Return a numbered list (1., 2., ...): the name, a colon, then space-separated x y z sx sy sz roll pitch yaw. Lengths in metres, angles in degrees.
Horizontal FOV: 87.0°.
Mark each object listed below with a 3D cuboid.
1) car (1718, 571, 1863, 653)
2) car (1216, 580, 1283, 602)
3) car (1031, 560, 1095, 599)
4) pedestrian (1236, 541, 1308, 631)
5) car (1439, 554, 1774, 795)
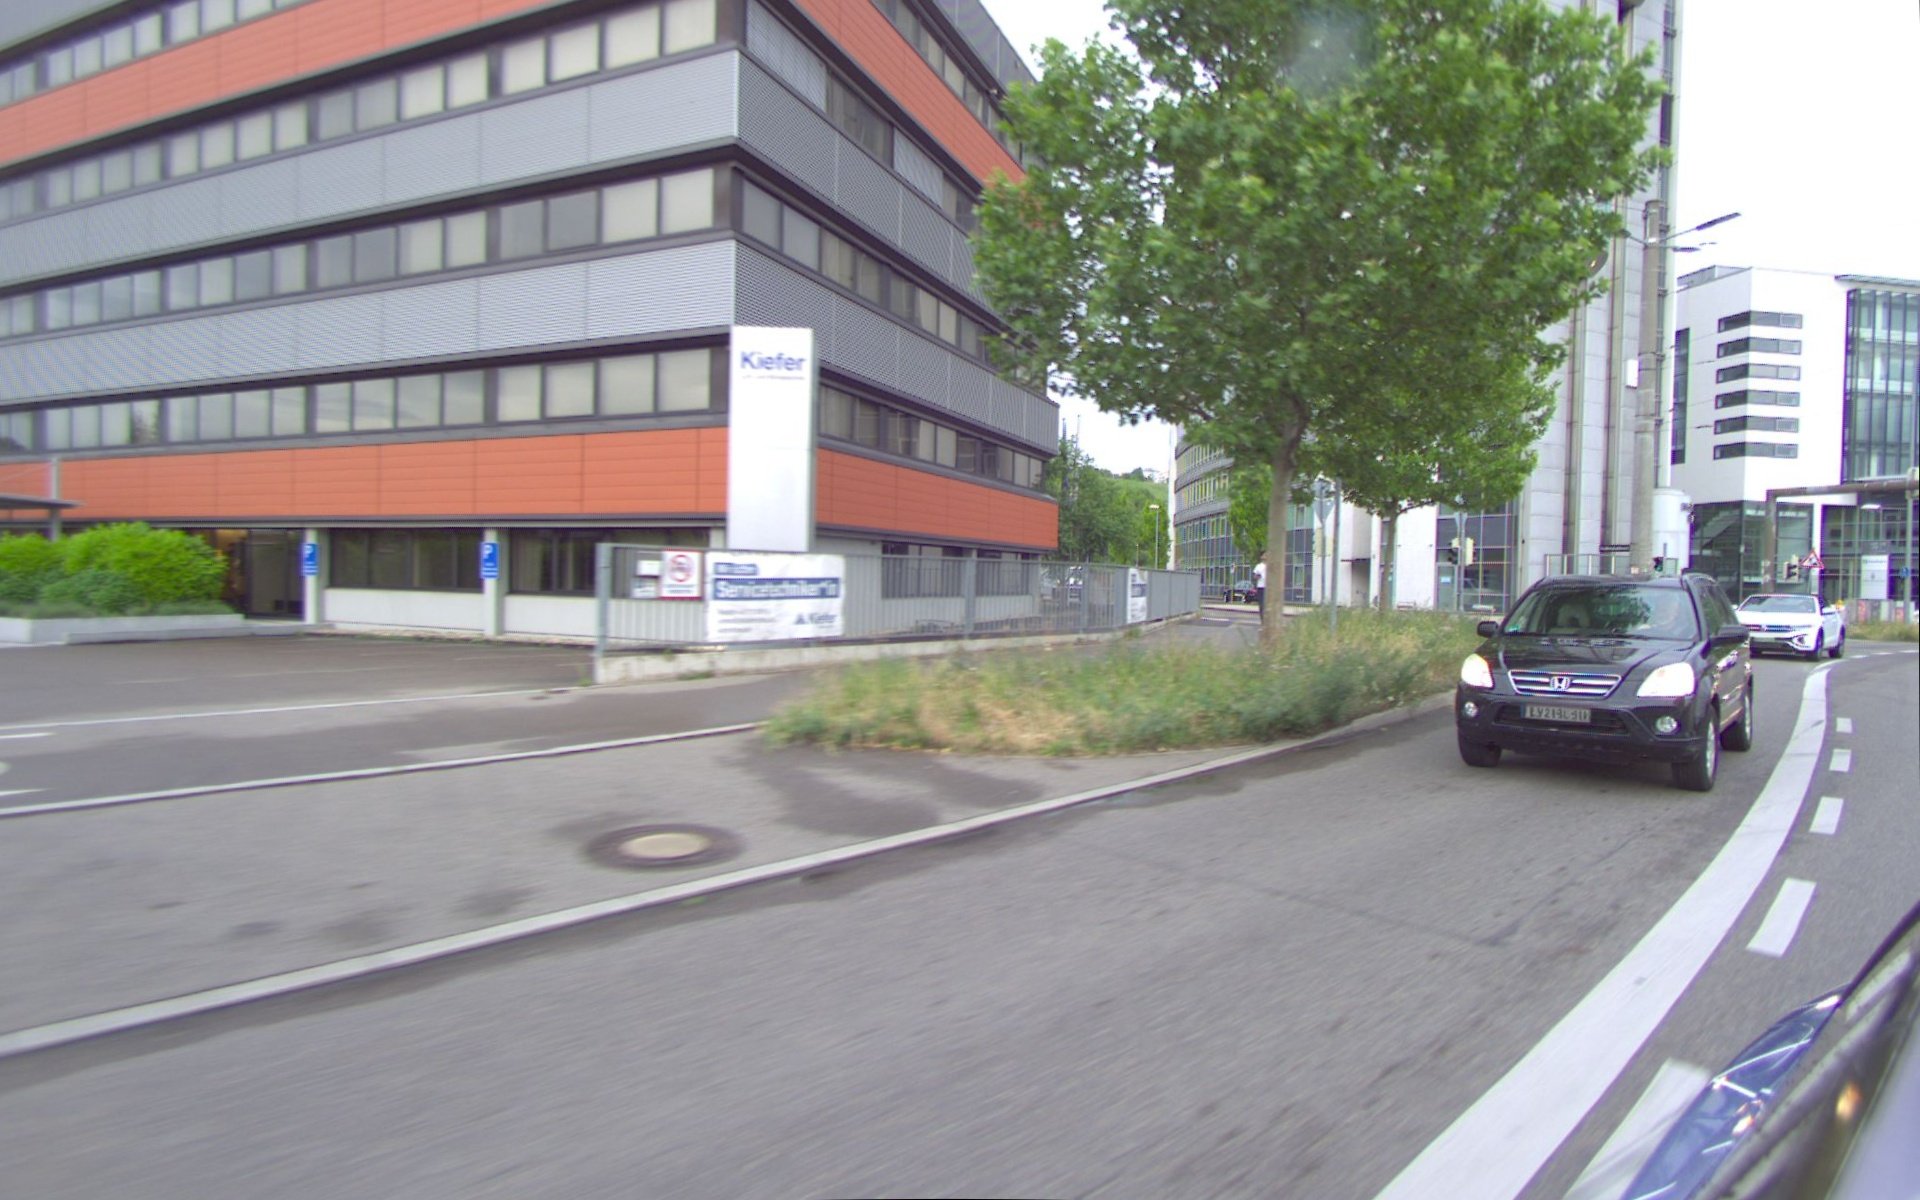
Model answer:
1. car: 19.350 0.238 23.540 3.755 1.699 1.997 0 2 -41
2. car: 18.330 -0.577 64.259 1.861 1.330 4.333 -1 0 -21
3. car: 5.790 -1.121 57.466 1.958 1.940 5.092 5 -1 -12
4. pedestrian: 7.680 -0.363 24.966 1.196 2.152 1.150 0 2 -21
5. car: 5.970 0.497 9.103 1.765 1.650 4.257 -1 0 43
